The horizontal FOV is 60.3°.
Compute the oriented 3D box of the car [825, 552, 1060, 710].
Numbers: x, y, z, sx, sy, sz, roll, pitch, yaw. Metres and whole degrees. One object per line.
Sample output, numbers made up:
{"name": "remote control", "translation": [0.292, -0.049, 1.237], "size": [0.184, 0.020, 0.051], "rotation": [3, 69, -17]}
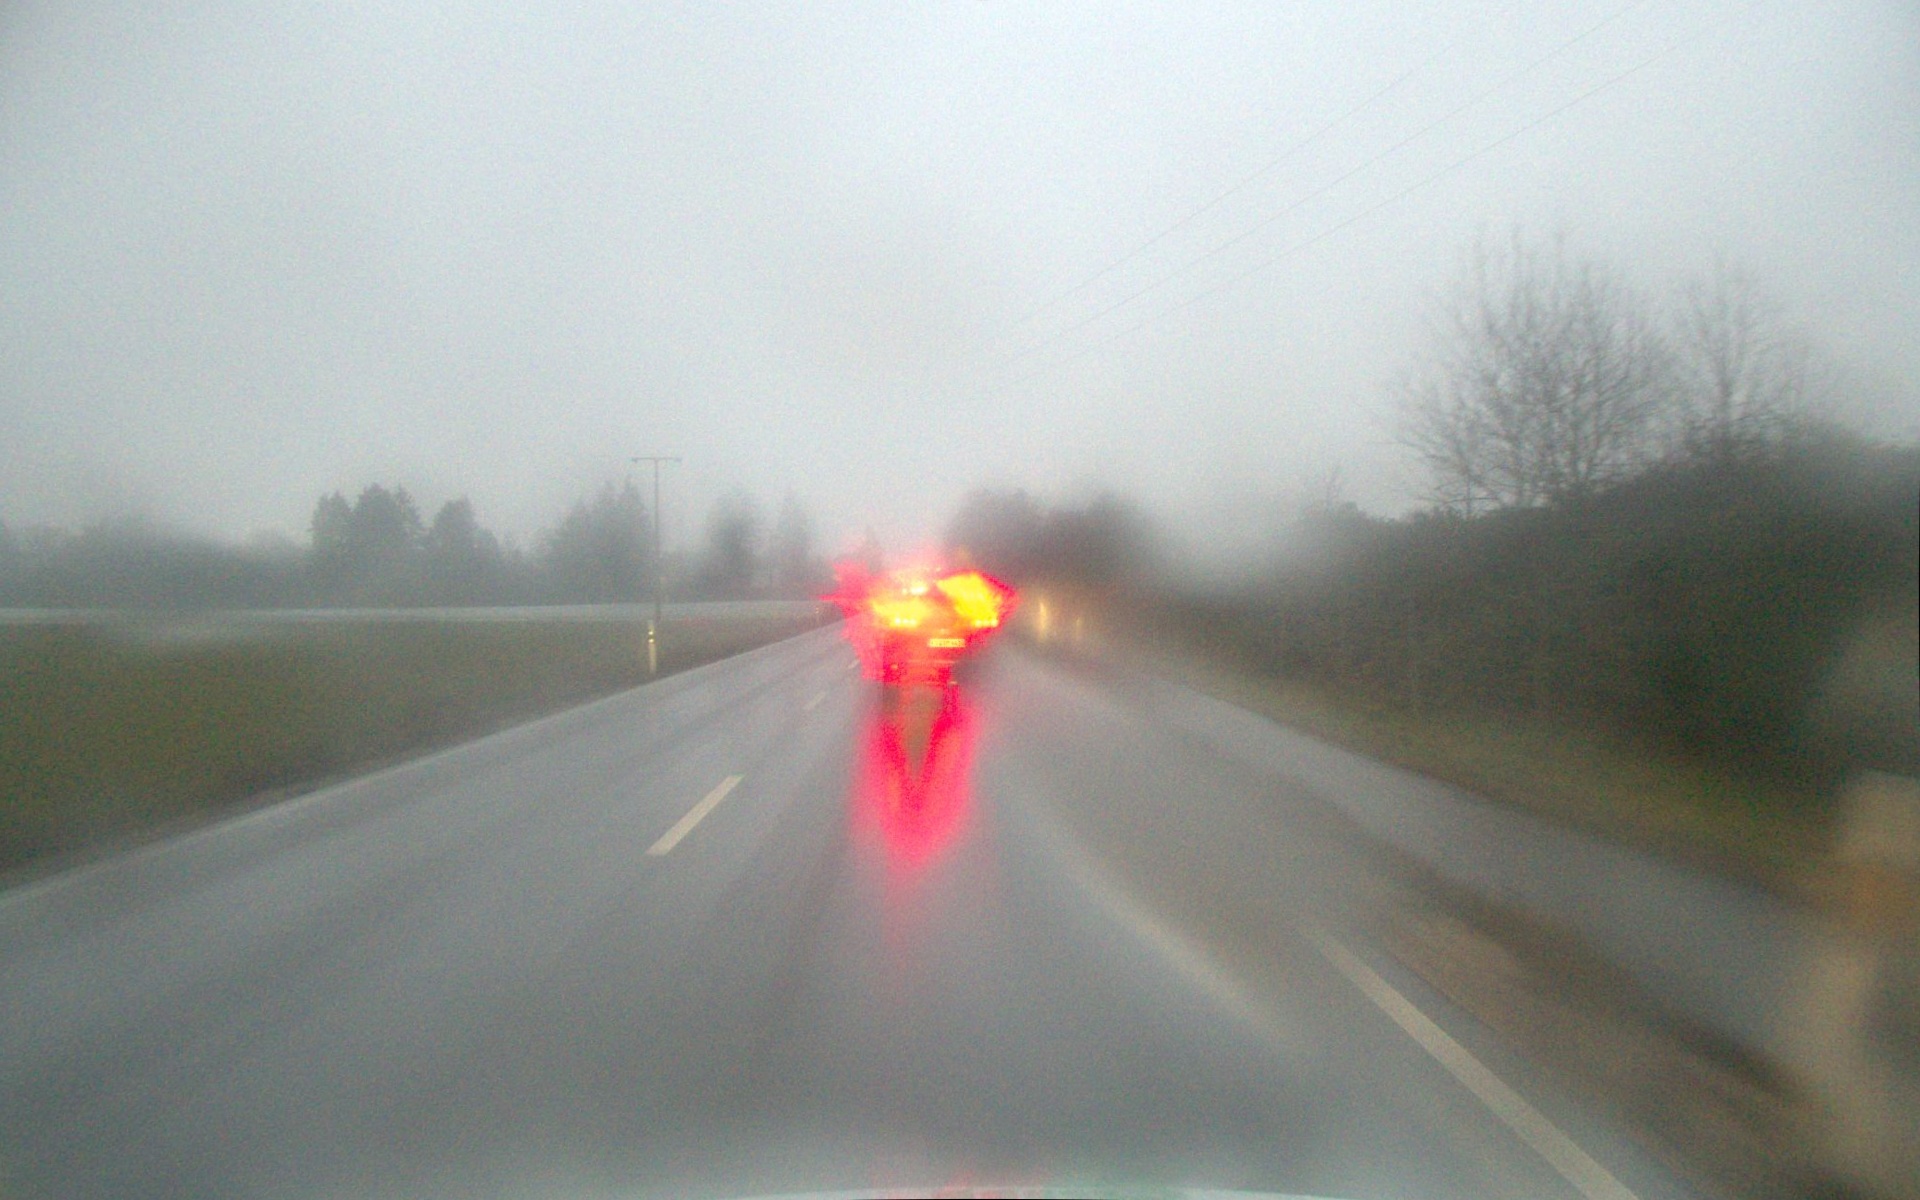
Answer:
{"name": "car", "translation": [-0.259, 0.383, 25.399], "size": [3.100, 2.071, 6.851], "rotation": [0, 0, -1]}

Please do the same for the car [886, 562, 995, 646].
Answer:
{"name": "car", "translation": [-0.506, 0.071, 44.680], "size": [2.699, 2.071, 6.590], "rotation": [0, 0, -1]}
